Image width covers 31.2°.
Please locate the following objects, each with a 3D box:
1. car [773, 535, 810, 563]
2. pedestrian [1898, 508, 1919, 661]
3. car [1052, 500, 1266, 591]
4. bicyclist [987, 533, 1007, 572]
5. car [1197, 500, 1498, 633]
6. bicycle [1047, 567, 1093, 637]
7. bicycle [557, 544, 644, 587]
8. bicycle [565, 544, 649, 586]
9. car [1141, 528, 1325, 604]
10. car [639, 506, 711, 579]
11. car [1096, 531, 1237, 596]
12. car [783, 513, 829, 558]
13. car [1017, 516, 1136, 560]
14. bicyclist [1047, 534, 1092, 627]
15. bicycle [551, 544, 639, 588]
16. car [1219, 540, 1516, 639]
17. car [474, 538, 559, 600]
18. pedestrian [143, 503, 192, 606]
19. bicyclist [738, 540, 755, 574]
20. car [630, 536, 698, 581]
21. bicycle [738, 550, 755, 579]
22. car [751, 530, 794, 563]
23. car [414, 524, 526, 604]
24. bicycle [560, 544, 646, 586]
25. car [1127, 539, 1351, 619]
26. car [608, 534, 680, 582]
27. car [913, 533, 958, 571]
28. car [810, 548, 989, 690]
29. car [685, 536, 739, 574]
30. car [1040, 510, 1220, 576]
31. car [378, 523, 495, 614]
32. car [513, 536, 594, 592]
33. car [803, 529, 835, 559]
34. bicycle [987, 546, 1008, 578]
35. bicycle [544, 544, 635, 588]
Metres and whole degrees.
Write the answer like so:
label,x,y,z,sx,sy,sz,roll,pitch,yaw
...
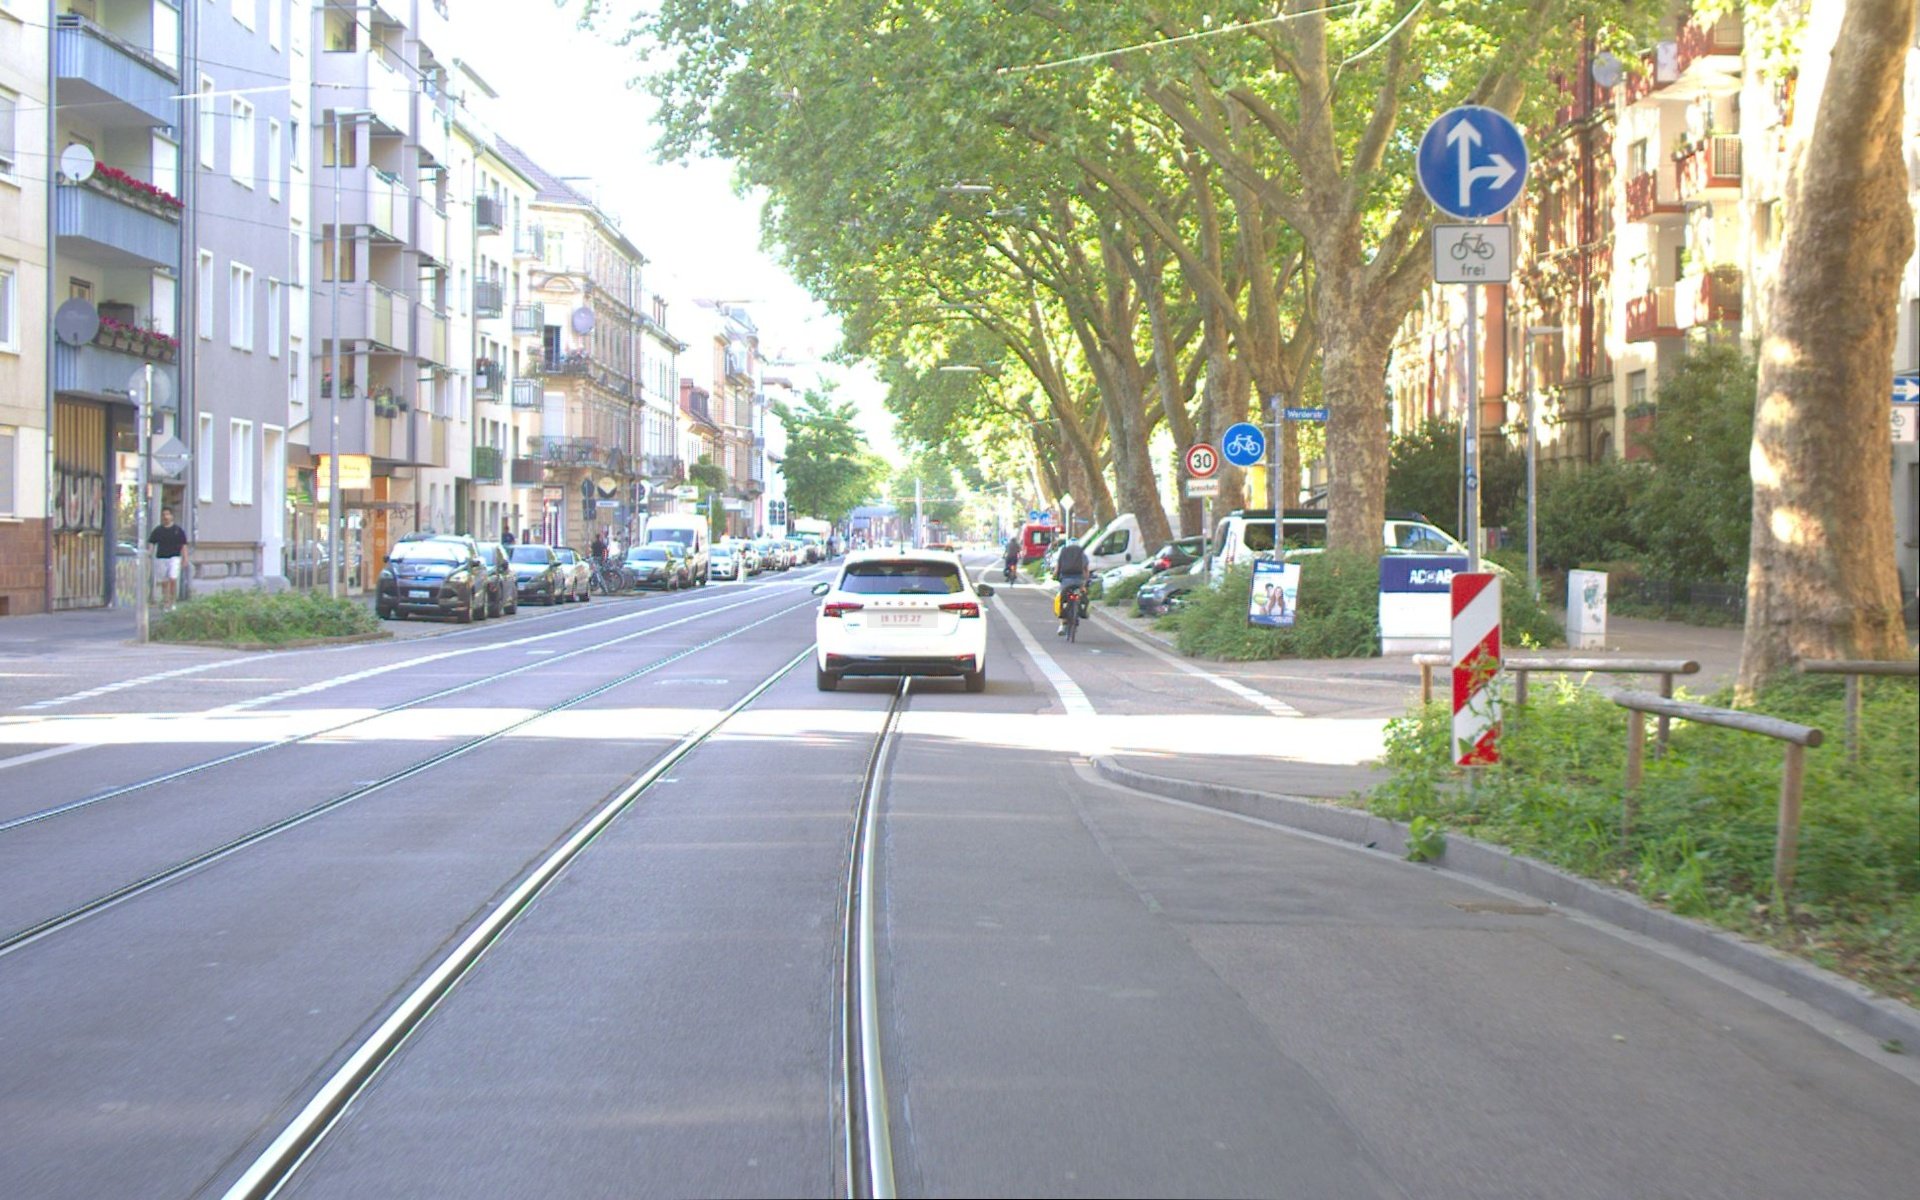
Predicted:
label,x,y,z,sx,sy,sz,roll,pitch,yaw
car,-10.067,-3.051,206.103,1.993,1.634,4.000,1,1,0
pedestrian,12.027,-0.191,41.972,0.766,1.860,1.189,0,1,-4
car,5.876,-1.626,102.261,6.130,2.626,2.529,0,1,-2
bicyclist,1.292,-1.652,118.833,0.649,1.339,0.934,0,1,-2
car,6.188,-0.547,55.274,4.543,2.069,2.001,0,1,-2
bicycle,1.714,0.021,53.788,0.681,1.067,1.781,0,1,0
bicycle,-10.765,-1.036,102.960,2.524,1.168,0.719,2,-1,-5
bicycle,-10.768,-1.063,104.864,2.524,1.168,0.719,2,-1,-6
car,6.121,-0.765,77.403,3.987,1.674,1.723,0,1,-1
car,-10.255,-2.069,123.945,2.178,2.588,4.949,0,1,0
car,5.396,-0.959,90.019,3.634,1.661,1.822,0,1,2
car,-11.053,-4.595,246.828,2.968,3.145,5.847,1,1,0
car,6.101,-3.248,181.037,6.130,2.274,2.529,0,1,-2
bicyclist,1.714,-0.308,53.896,0.678,1.438,1.047,0,1,1
bicycle,-10.721,-0.999,101.086,2.524,1.168,0.719,2,-1,-6
car,6.206,-0.179,52.701,4.297,1.474,1.831,0,1,-1
car,-10.676,-0.772,83.003,1.653,1.432,3.837,0,1,-2
pedestrian,-14.086,-0.812,61.088,0.663,1.820,0.965,0,1,-2
bicyclist,-7.926,-1.594,127.578,0.597,1.281,0.917,0,1,-3
car,-10.144,-1.432,118.010,1.993,1.525,4.000,0,1,0
bicycle,-7.922,-1.334,127.477,0.605,1.067,1.583,0,1,-3
car,-9.801,-2.787,180.272,1.993,1.634,4.000,1,1,0
car,-10.281,-0.775,72.407,1.702,1.539,4.242,3,1,0
bicycle,-10.771,-1.052,103.810,2.524,1.168,0.719,2,-1,-5
car,5.361,-0.420,66.495,4.142,1.509,1.931,0,1,-1
car,-10.286,-1.371,112.229,1.993,1.525,4.000,0,1,0
car,-0.956,-1.938,138.168,1.761,1.470,4.000,0,1,0
car,-0.643,0.156,35.782,1.761,1.379,4.000,0,1,-1
car,-10.383,-1.898,144.281,1.993,1.525,4.000,0,1,0
car,5.953,-2.011,120.879,6.130,2.274,2.529,0,1,-2
car,-10.238,-0.638,67.425,1.702,1.645,4.242,3,1,-2
car,-10.390,-0.937,88.083,1.485,1.398,3.990,1,1,2
car,-9.325,-3.707,227.848,1.993,2.007,4.000,0,1,0
bicycle,1.295,-1.316,118.923,0.649,1.067,1.583,0,1,-2
bicycle,-10.781,-0.988,100.204,2.525,1.168,0.883,3,-1,-40
